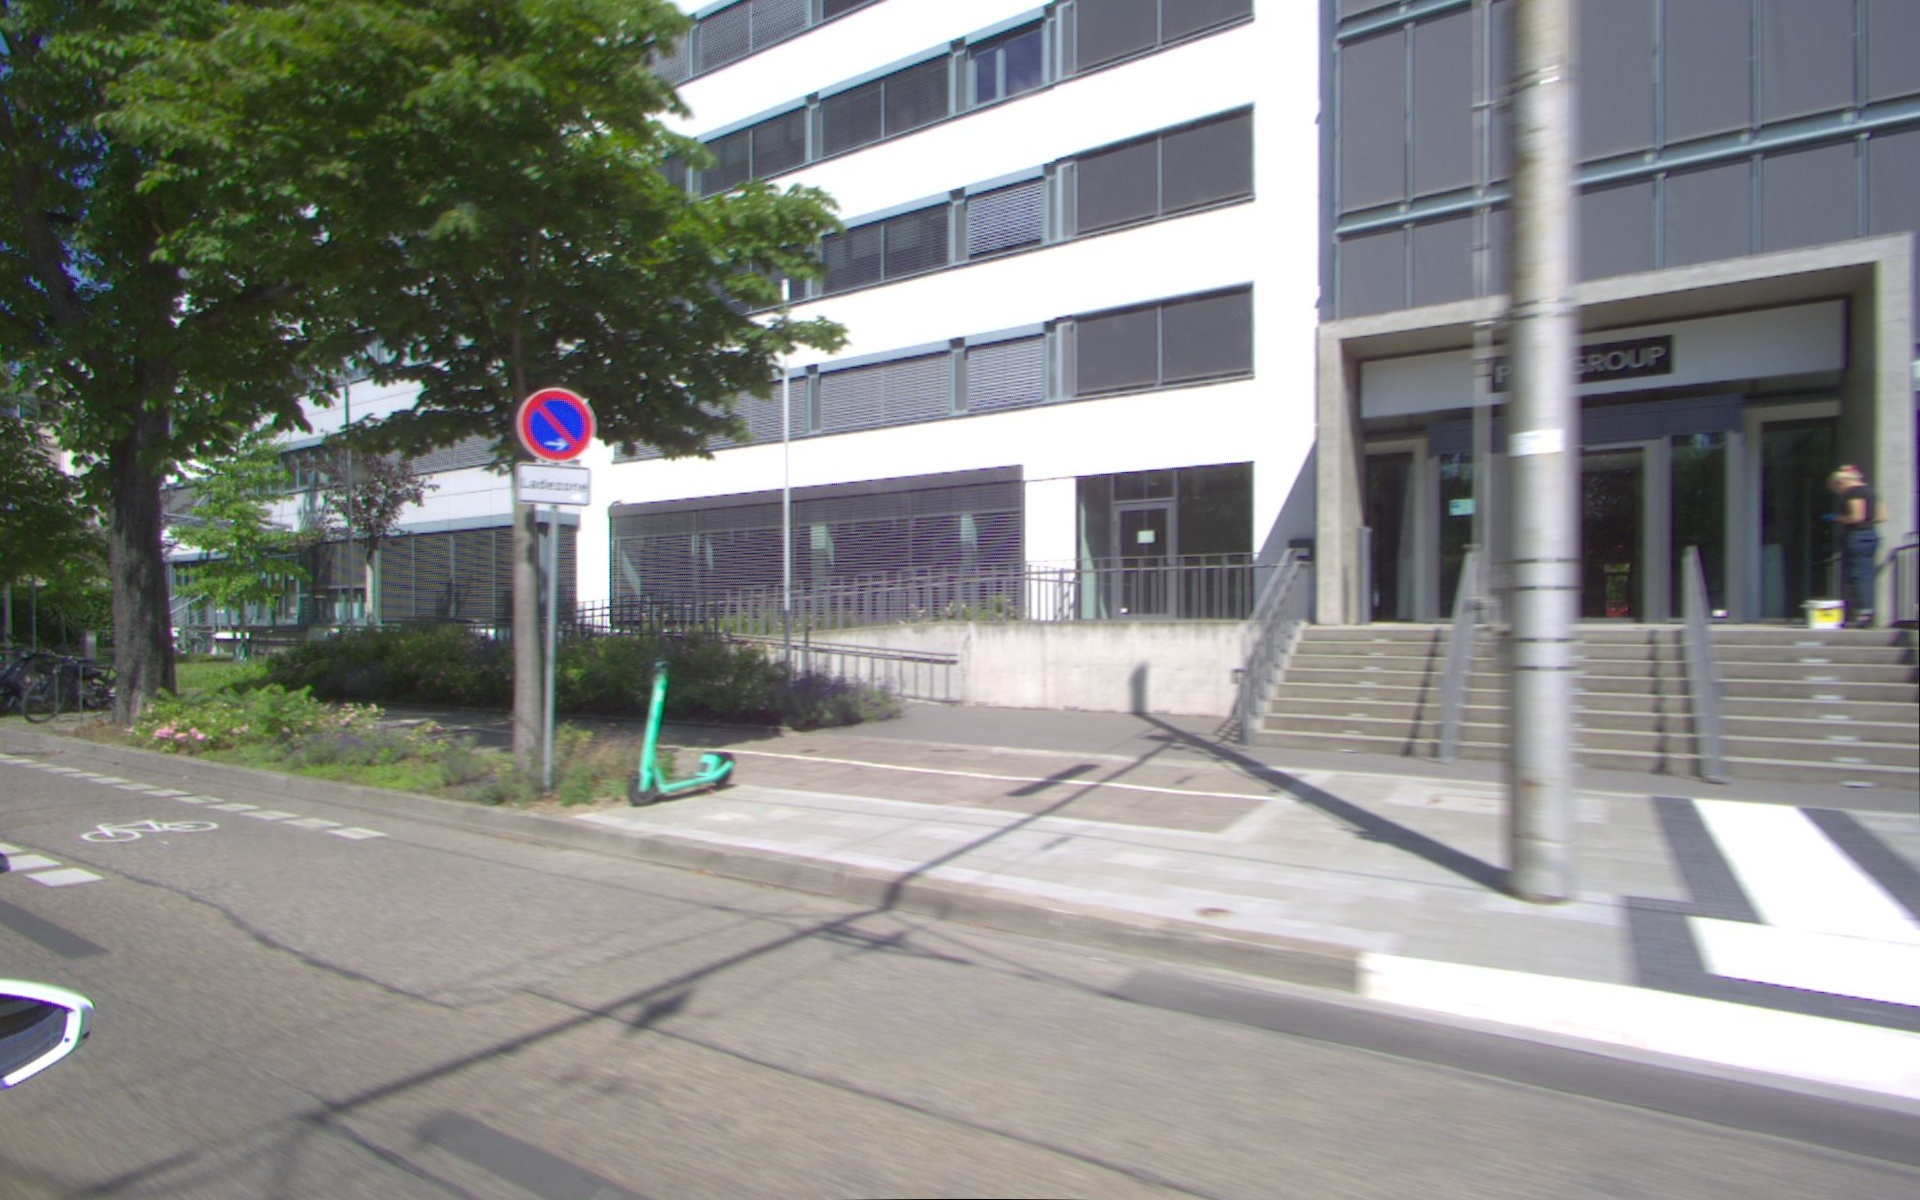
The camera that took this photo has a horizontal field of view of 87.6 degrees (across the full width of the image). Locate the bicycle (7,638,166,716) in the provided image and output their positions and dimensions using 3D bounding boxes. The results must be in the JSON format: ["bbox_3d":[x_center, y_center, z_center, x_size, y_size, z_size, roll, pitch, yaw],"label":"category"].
[{"bbox_3d":[-13.484,1.153,15.512,0.587,1.097,1.772,0,-1,30],"label":"bicycle"}]

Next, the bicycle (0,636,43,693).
[{"bbox_3d":[-18.620,1.204,18.841,0.542,1.096,1.911,0,-3,30],"label":"bicycle"}]

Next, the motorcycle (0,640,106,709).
[{"bbox_3d":[-15.248,1.217,16.693,0.526,1.060,1.463,0,0,30],"label":"motorcycle"}]

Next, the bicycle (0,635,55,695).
[{"bbox_3d":[-18.101,1.193,18.530,0.542,1.096,1.911,0,-3,30],"label":"bicycle"}]

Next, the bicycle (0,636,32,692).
[{"bbox_3d":[-19.142,1.225,19.198,0.542,1.096,1.884,0,-3,30],"label":"bicycle"}]

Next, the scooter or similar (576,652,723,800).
[{"bbox_3d":[-2.681,1.054,8.721,0.487,1.169,1.138,0,-1,38],"label":"scooter or similar"}]

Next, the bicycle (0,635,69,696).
[{"bbox_3d":[-17.584,1.195,18.243,0.542,1.096,1.910,0,-3,30],"label":"bicycle"}]

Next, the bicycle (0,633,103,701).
[{"bbox_3d":[-16.430,1.167,17.765,0.587,1.134,1.772,0,0,30],"label":"bicycle"}]

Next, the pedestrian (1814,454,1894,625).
[{"bbox_3d":[9.443,-0.610,10.592,0.539,1.750,0.498,0,-1,32],"label":"pedestrian"}]
